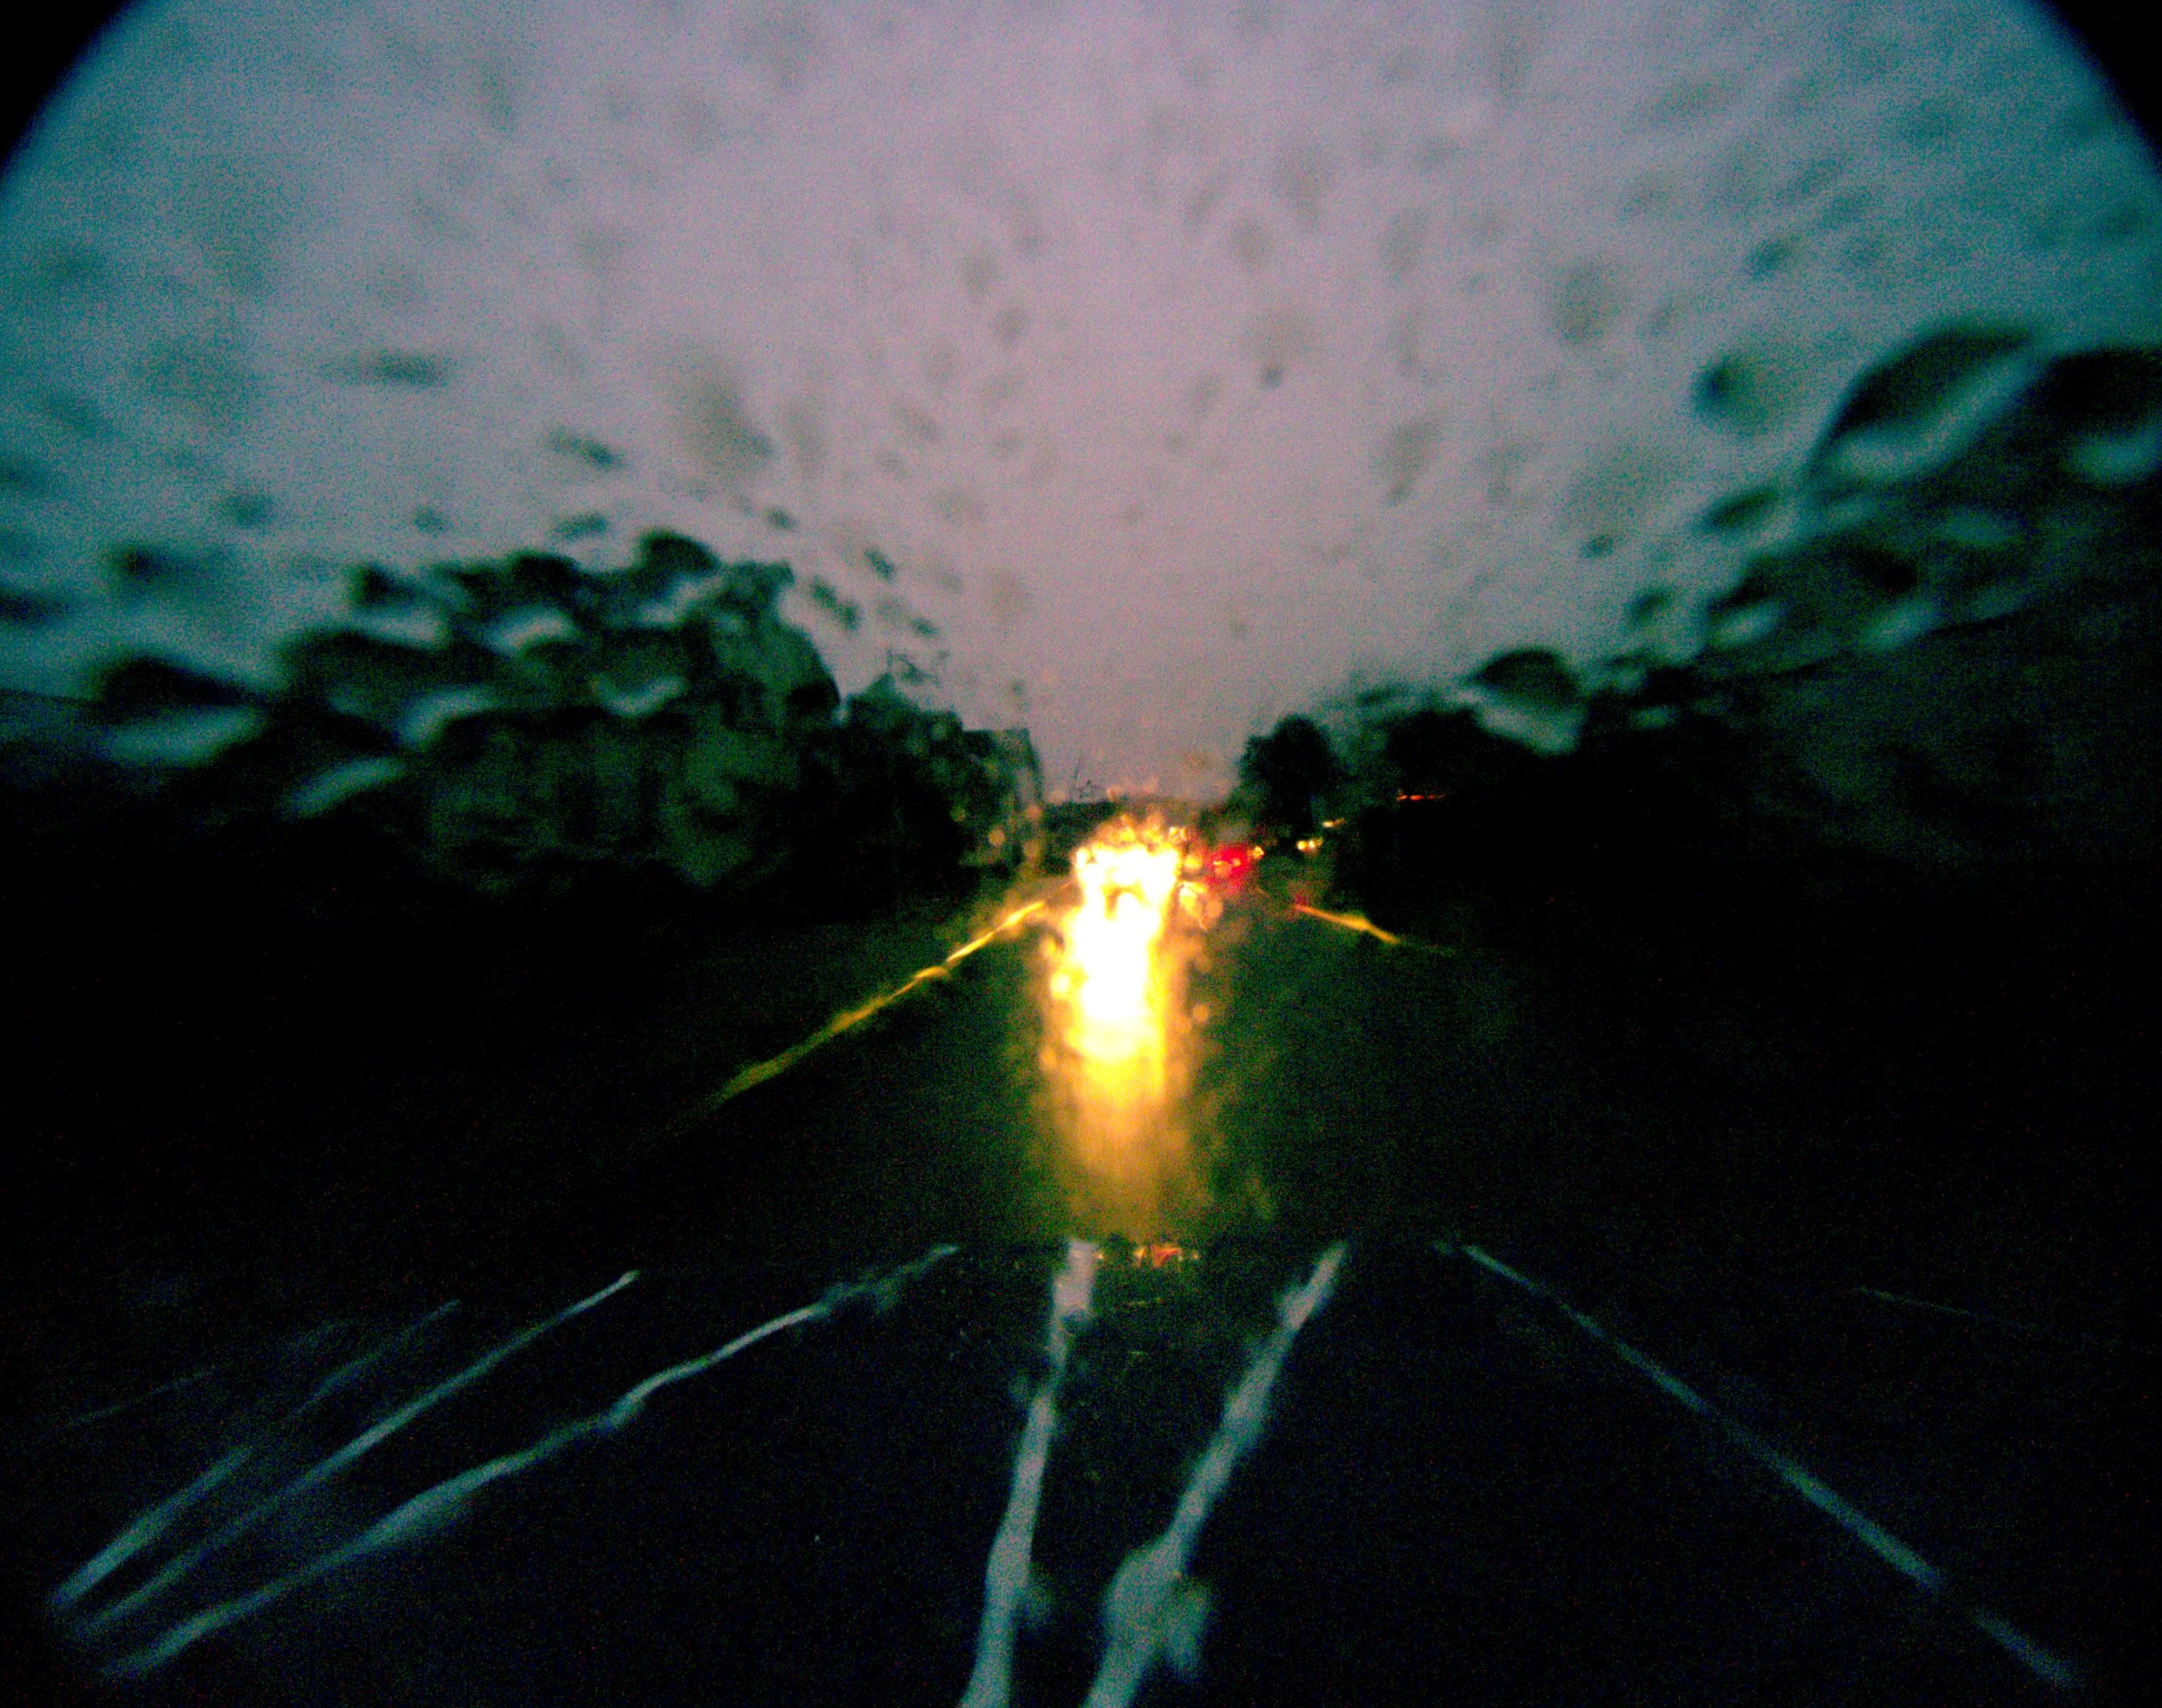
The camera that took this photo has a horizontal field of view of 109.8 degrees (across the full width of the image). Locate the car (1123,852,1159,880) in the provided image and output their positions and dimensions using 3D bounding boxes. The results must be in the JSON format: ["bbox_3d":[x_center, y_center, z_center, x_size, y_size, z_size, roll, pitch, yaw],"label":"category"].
[{"bbox_3d":[3.869,0.733,48.772,1.997,1.660,4.002,-2,0,8],"label":"car"}]

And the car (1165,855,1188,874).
[{"bbox_3d":[8.941,0.982,71.174,1.774,1.608,3.875,-2,1,12],"label":"car"}]

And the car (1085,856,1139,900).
[{"bbox_3d":[1.301,0.902,30.245,1.998,1.575,4.001,-1,0,5],"label":"car"}]

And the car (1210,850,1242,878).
[{"bbox_3d":[9.616,0.654,50.645,1.966,1.688,4.002,-2,1,10],"label":"car"}]
